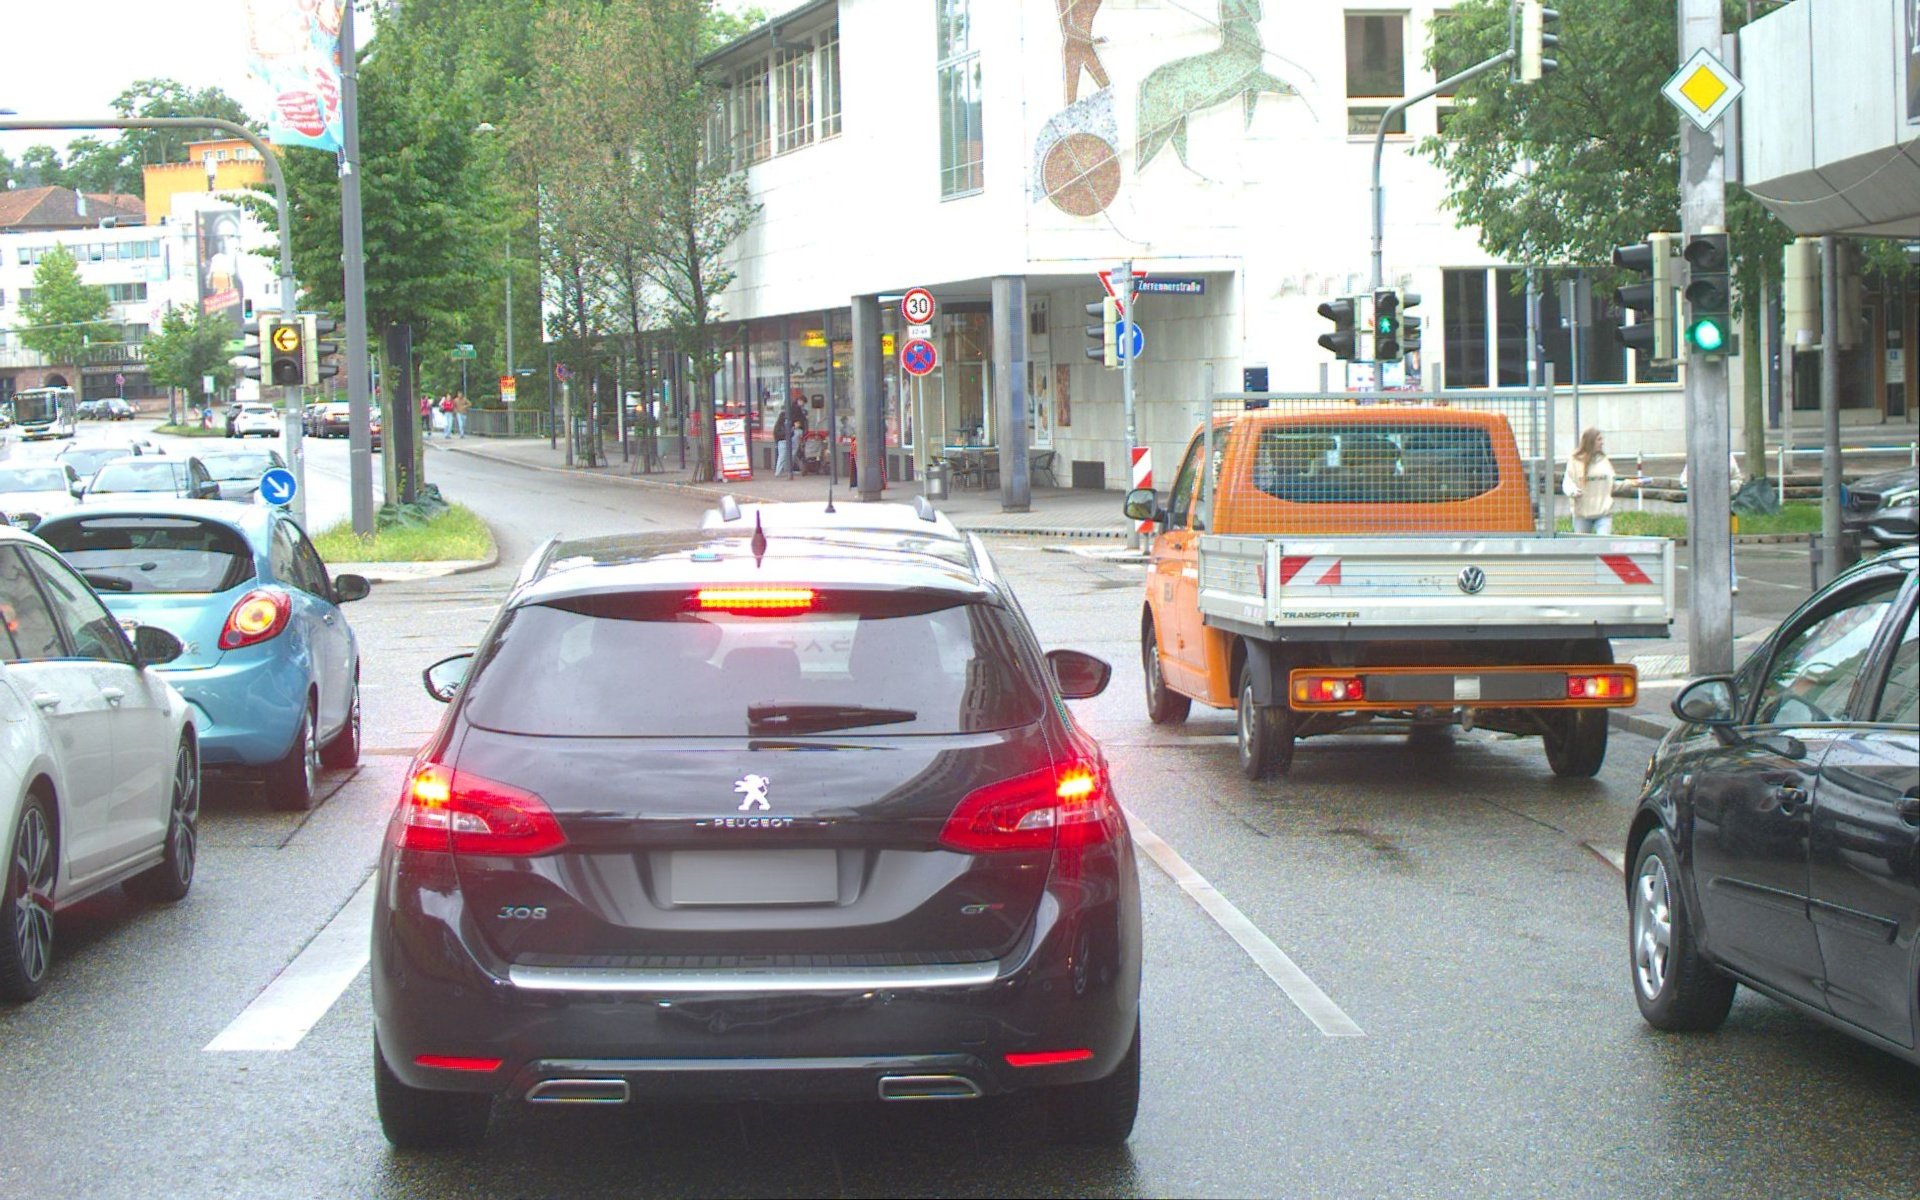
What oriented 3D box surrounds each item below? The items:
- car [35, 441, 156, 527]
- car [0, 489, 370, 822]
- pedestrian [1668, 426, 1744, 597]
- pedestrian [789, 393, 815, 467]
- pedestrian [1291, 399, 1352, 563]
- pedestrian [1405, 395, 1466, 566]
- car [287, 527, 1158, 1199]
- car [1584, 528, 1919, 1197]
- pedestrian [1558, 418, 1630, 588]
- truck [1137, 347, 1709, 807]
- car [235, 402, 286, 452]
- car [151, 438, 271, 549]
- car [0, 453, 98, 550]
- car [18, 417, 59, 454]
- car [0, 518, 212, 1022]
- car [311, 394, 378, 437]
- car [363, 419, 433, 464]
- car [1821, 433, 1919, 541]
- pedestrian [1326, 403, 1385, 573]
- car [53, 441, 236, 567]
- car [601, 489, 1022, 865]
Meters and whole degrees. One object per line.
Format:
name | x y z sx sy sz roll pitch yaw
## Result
car | -15.380 -2.078 61.274 1.632 1.481 3.610 0 2 -7
car | -3.971 0.201 17.487 1.632 1.481 3.610 0 2 -5
pedestrian | 7.301 -0.861 33.677 0.637 1.653 0.733 0 0 6
pedestrian | -3.800 -4.085 82.633 0.468 1.742 0.541 1 0 -21
pedestrian | 3.922 -1.282 37.295 0.637 1.752 0.733 0 0 6
pedestrian | 5.339 -1.334 38.596 0.637 1.891 0.733 0 0 6
car | -0.465 0.549 8.963 1.778 1.424 3.842 1 2 1
car | 2.839 0.560 8.635 1.616 1.424 3.843 0 2 -3
pedestrian | 6.239 -0.947 33.854 0.637 1.653 0.733 0 0 6
truck | 2.329 -0.208 18.836 2.177 2.165 5.021 0 2 -3
car | -29.723 -7.332 145.985 1.705 1.875 4.001 1 0 -18
car | -11.884 -1.662 54.712 1.744 1.634 4.001 1 0 -11
car | -14.645 -1.575 54.126 1.632 1.481 3.610 0 2 -7
car | -54.898 -9.793 204.794 1.993 2.007 4.001 1 0 -20
car | -3.728 0.454 11.463 1.777 1.424 3.843 0 2 -2
car | -25.379 -7.579 141.557 1.724 1.485 4.734 1 0 -23
car | -19.642 -5.565 120.042 1.787 1.449 4.508 -4 4 -17
car | 12.120 -1.299 40.228 3.688 1.208 1.835 1 0 4
pedestrian | 4.457 -1.250 38.750 0.637 1.891 0.733 0 0 6
car | -10.931 -1.253 46.316 1.744 1.574 4.000 1 0 -4
car | -0.629 0.252 15.840 1.696 1.481 3.794 1 2 -1
